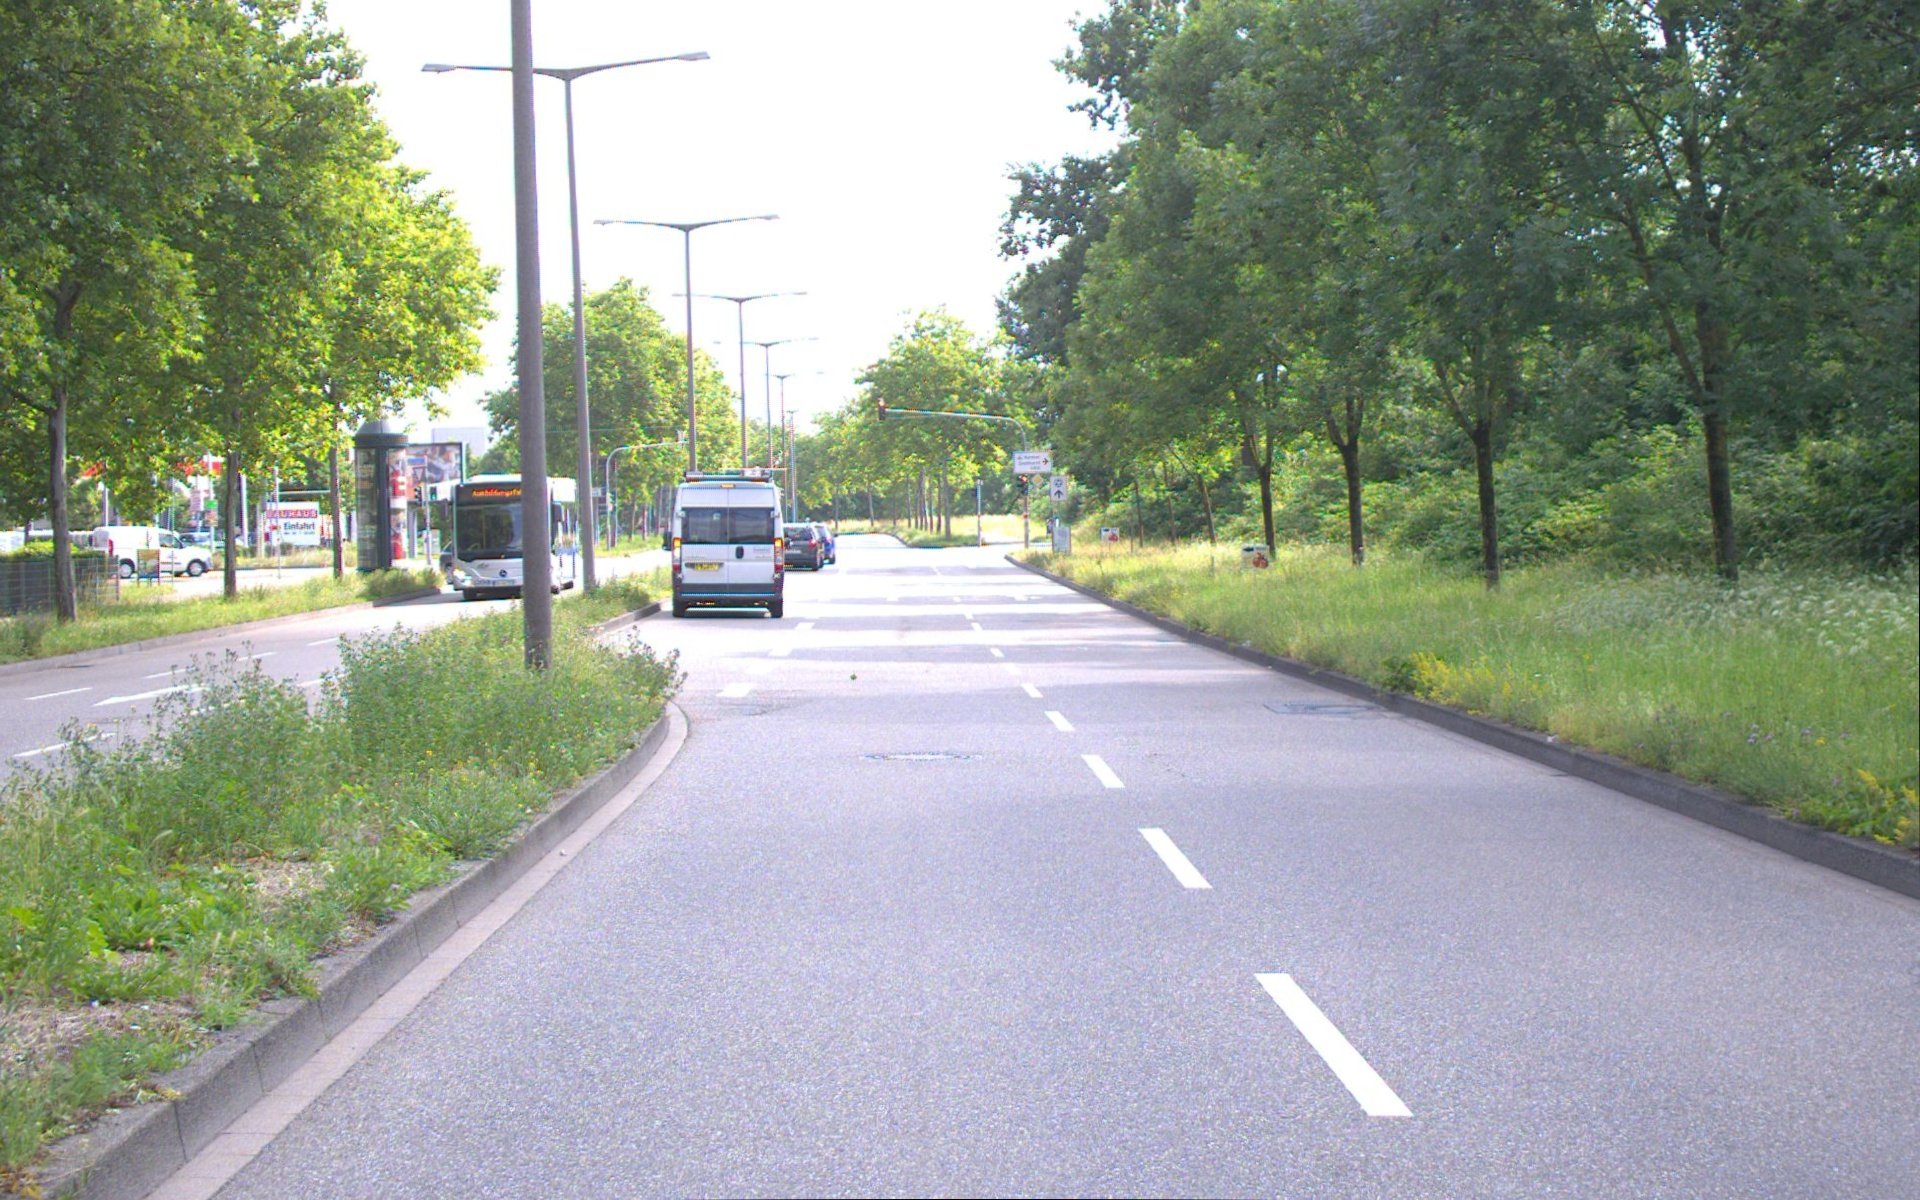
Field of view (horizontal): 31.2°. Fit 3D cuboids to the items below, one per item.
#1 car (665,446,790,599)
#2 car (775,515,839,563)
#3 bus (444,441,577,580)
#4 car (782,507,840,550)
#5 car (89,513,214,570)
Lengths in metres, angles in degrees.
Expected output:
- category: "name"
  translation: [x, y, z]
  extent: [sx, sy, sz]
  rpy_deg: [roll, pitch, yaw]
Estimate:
- category: "car"
  translation: [-4.350, -1.422, 64.131]
  extent: [2.197, 2.717, 4.932]
  rpy_deg: [1, 1, -4]
- category: "car"
  translation: [-4.957, -1.957, 110.848]
  extent: [1.806, 1.465, 3.857]
  rpy_deg: [-1, 1, -6]
- category: "bus"
  translation: [-11.829, -2.232, 90.040]
  extent: [3.108, 3.263, 12.340]
  rpy_deg: [-2, 1, -8]
- category: "car"
  translation: [-5.342, -2.560, 122.857]
  extent: [1.806, 1.465, 3.857]
  rpy_deg: [-1, 1, -6]
- category: "car"
  translation: [-29.375, -2.110, 124.946]
  extent: [3.988, 1.832, 1.864]
  rpy_deg: [2, -3, -40]
